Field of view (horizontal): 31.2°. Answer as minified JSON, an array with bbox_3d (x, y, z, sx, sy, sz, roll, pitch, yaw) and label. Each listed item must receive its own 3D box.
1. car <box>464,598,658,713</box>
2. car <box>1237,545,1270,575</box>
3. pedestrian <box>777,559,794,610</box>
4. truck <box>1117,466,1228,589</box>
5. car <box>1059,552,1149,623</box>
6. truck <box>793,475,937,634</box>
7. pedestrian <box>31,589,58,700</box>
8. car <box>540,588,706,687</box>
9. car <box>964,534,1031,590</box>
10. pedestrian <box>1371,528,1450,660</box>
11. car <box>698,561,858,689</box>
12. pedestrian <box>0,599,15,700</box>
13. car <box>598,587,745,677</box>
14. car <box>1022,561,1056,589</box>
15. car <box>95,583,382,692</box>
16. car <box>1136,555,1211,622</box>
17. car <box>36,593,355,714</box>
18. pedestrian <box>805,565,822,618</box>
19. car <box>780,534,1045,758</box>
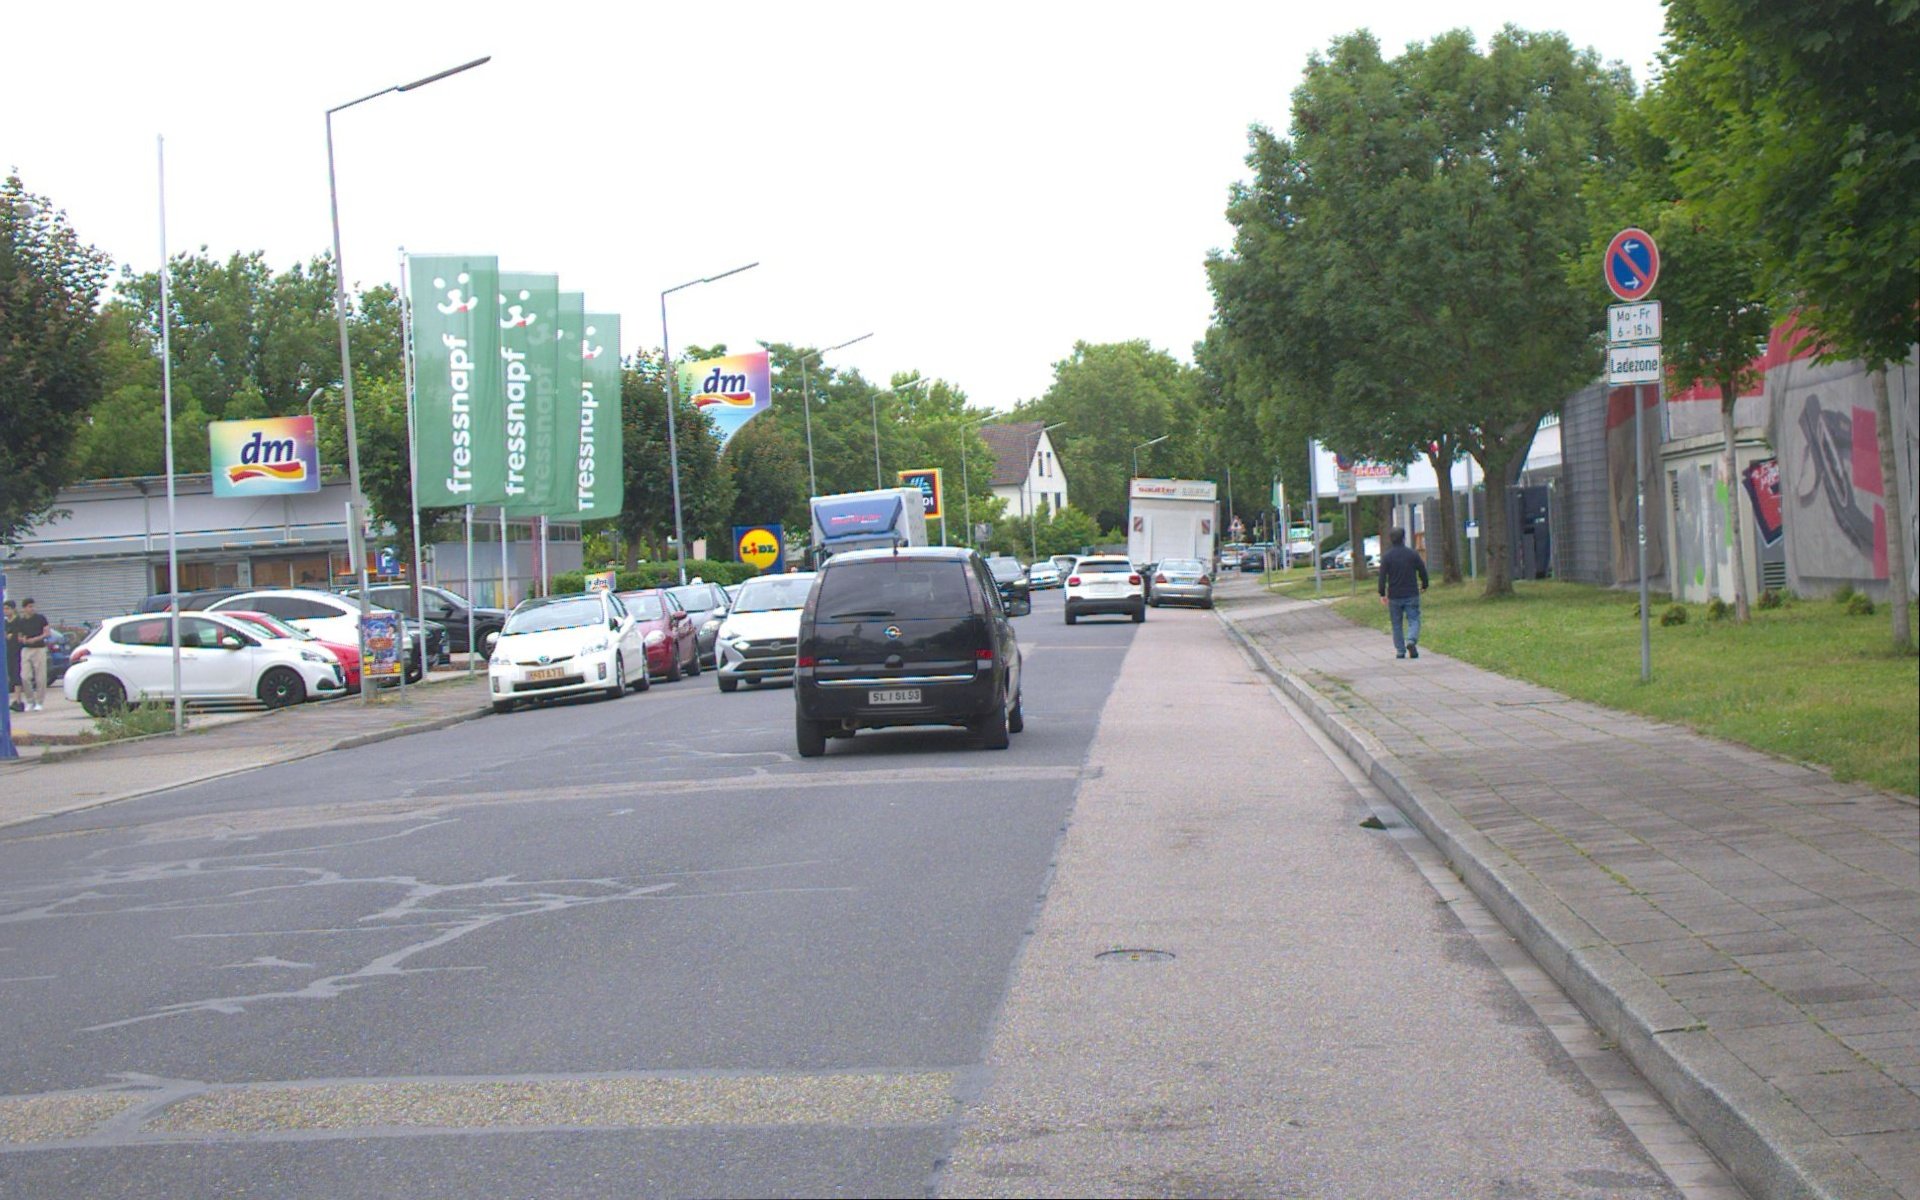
[{"bbox_3d":[-5.447,0.730,47.377,1.898,1.362,4.000,-3,1,4],"label":"car"},{"bbox_3d":[17.143,-2.344,200.920,1.887,1.677,4.253,-1,1,4],"label":"car"},{"bbox_3d":[-5.288,-0.462,104.269,0.401,1.526,0.485,-3,0,-2],"label":"pedestrian"},{"bbox_3d":[6.512,-2.162,106.631,3.135,3.572,10.049,-2,0,2],"label":"truck"},{"bbox_3d":[3.289,-0.311,77.869,1.887,1.526,4.253,-1,1,4],"label":"car"},{"bbox_3d":[-2.509,-1.237,93.036,2.974,3.942,6.404,-4,1,4],"label":"truck"},{"bbox_3d":[-14.375,0.688,53.996,0.262,1.724,0.422,-3,0,-9],"label":"pedestrian"},{"bbox_3d":[-5.238,0.557,53.880,1.898,1.362,4.000,-3,1,4],"label":"car"},{"bbox_3d":[1.215,-1.191,109.415,1.994,1.678,4.000,-2,0,2],"label":"car"},{"bbox_3d":[5.701,-0.072,43.515,0.919,1.629,0.852,-2,0,6],"label":"pedestrian"},{"bbox_3d":[-2.394,0.312,45.991,1.599,1.523,3.527,-5,0,4],"label":"car"},{"bbox_3d":[-15.097,0.778,54.104,0.330,1.565,0.504,-2,1,-8],"label":"pedestrian"},{"bbox_3d":[-4.943,0.534,59.365,1.898,1.362,4.000,-3,1,4],"label":"car"},{"bbox_3d":[4.044,-1.259,175.123,1.542,1.361,3.428,-2,0,4],"label":"car"},{"bbox_3d":[-11.481,0.582,54.906,4.135,1.458,1.899,-3,1,-1],"label":"car"},{"bbox_3d":[6.025,-0.332,97.505,1.994,1.800,4.000,-2,0,2],"label":"car"},{"bbox_3d":[-11.061,0.762,49.990,4.202,1.458,1.953,-3,1,-4],"label":"car"},{"bbox_3d":[-4.267,-0.252,99.933,0.401,1.526,0.485,-3,0,-2],"label":"pedestrian"},{"bbox_3d":[-0.321,0.325,28.135,1.681,1.626,3.758,-3,1,5],"label":"car"}]
